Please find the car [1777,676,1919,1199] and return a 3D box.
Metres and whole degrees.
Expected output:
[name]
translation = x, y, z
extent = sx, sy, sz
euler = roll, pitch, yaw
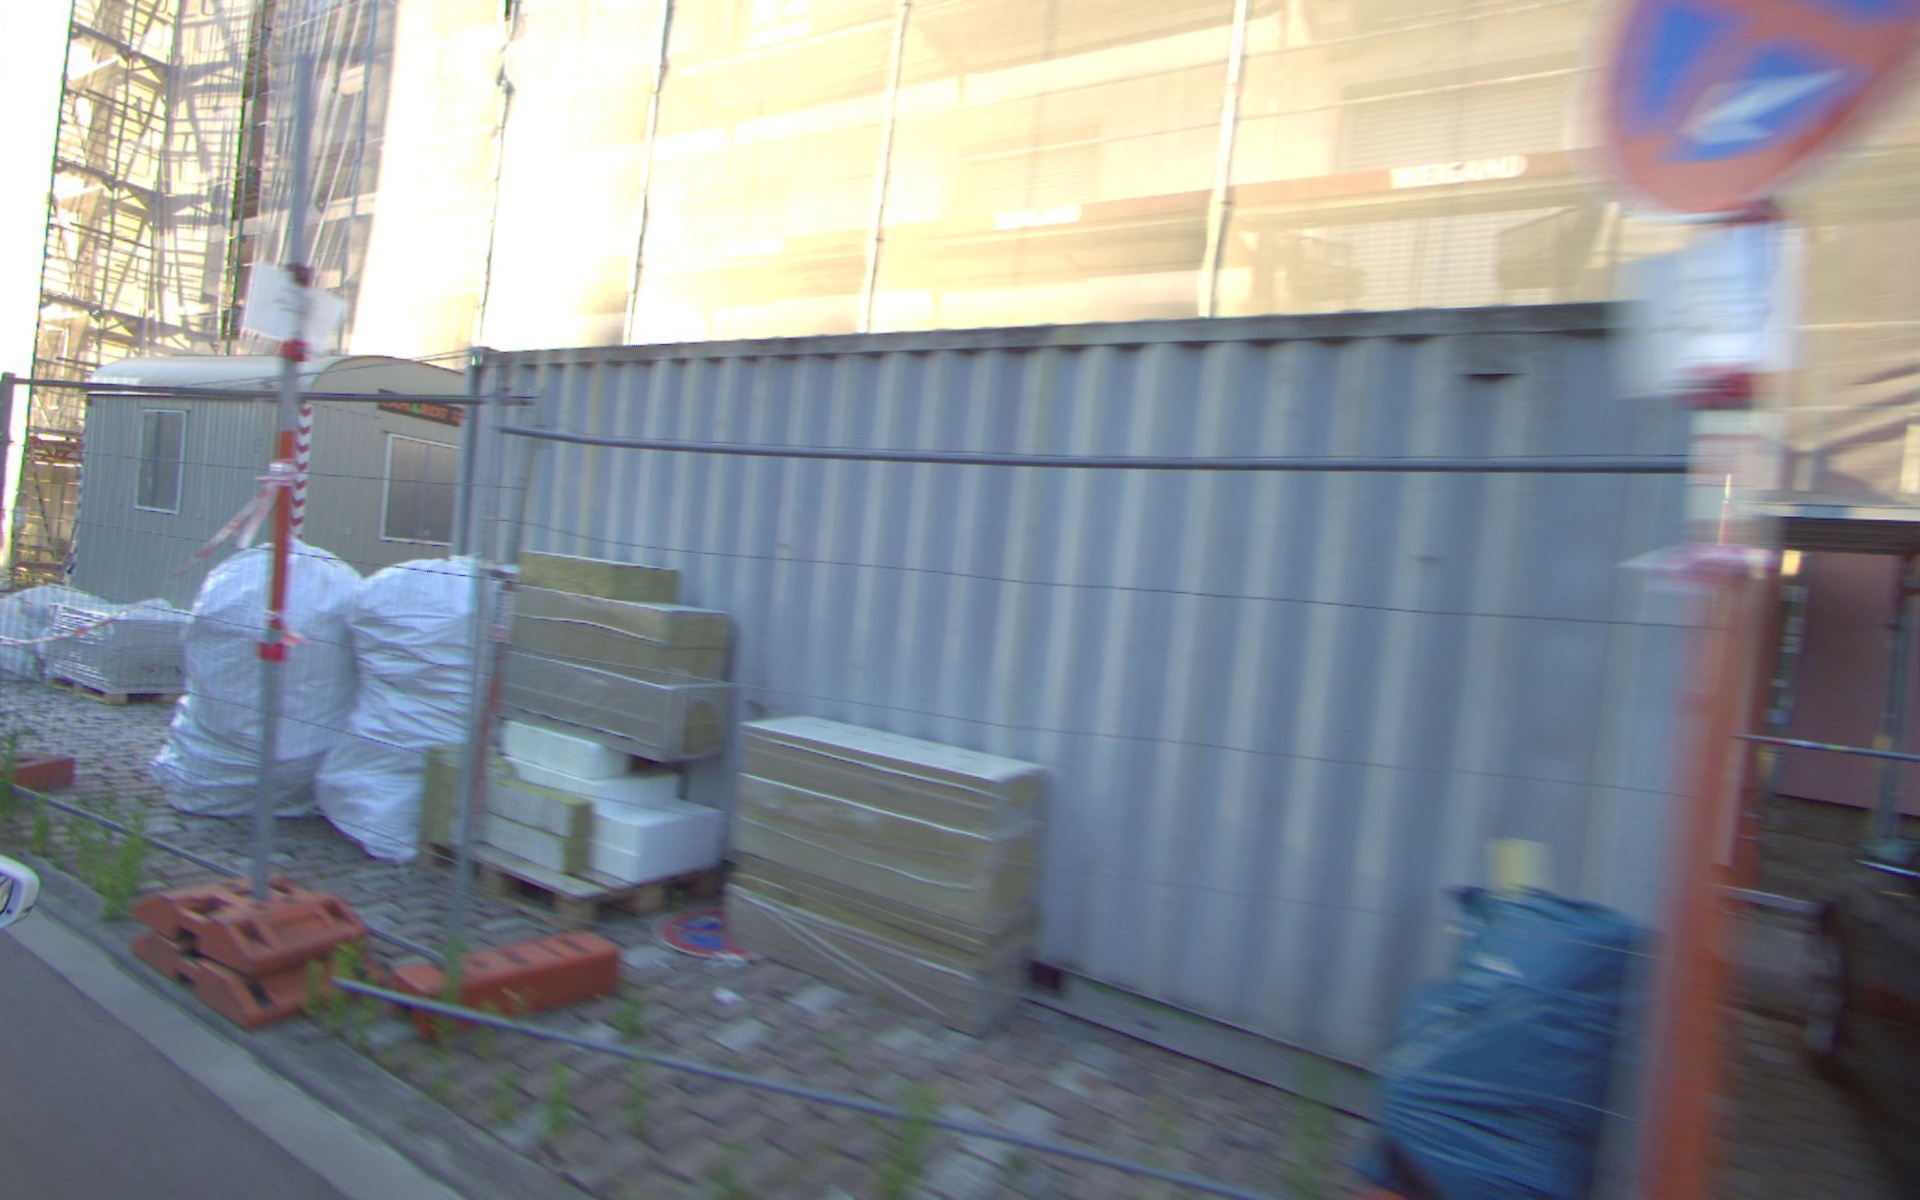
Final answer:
[car]
translation = 3.444, 1.098, 2.242
extent = 1.841, 1.635, 4.159
euler = 7, -1, 32
